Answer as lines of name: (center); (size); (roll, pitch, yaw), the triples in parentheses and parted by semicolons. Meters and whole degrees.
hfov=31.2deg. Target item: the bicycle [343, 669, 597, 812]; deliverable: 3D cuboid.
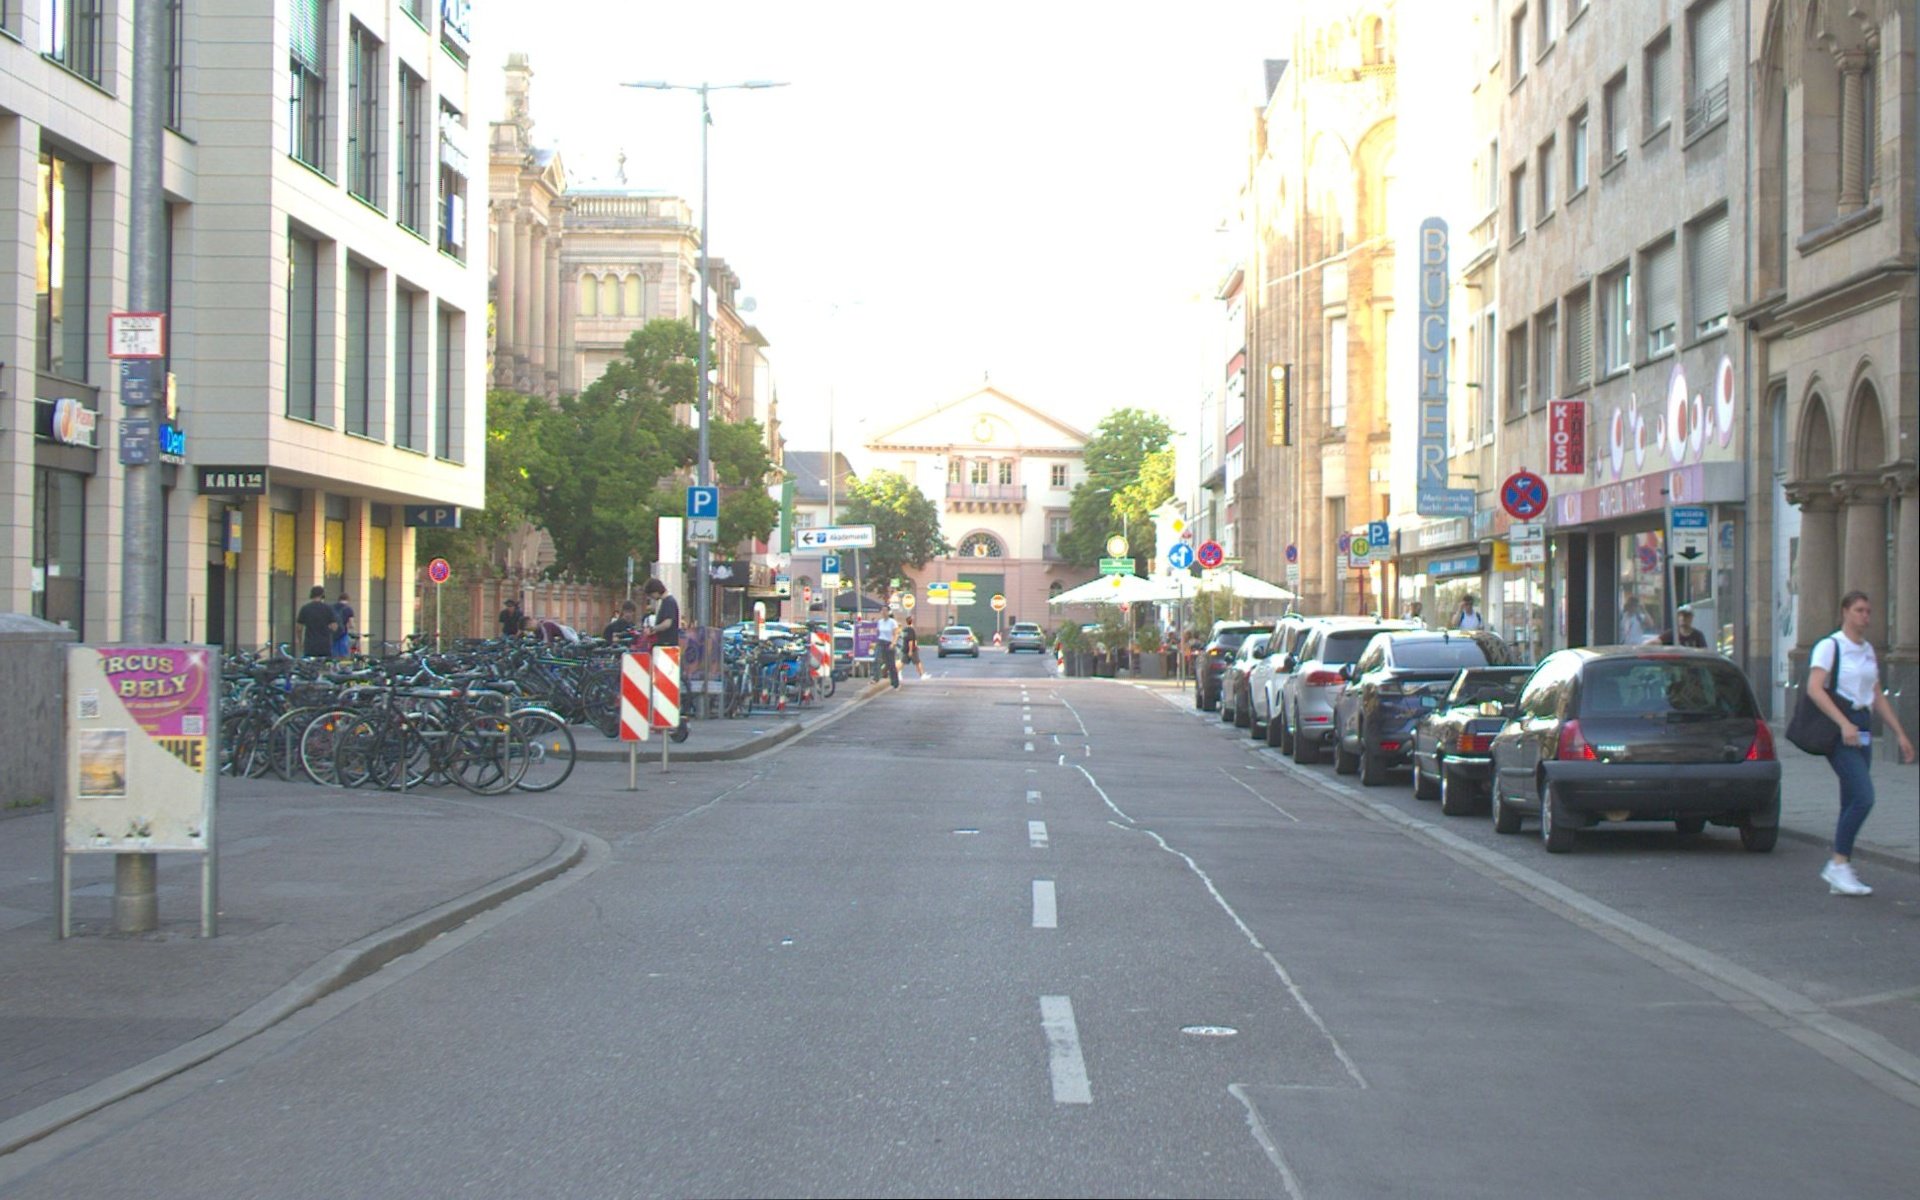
bicycle: (-4.043, 1.166, 28.426); (1.967, 1.118, 0.558); (2, 0, -28)

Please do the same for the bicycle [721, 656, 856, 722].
bicycle: (-2.807, 1.461, 56.537); (2.148, 1.026, 0.640); (1, 0, 3)

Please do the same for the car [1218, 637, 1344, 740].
car: (5.055, 1.374, 54.520); (1.679, 1.542, 3.673); (0, 0, 1)

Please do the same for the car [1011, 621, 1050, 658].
car: (3.750, 2.098, 183.312); (1.993, 1.897, 4.000); (2, 0, 1)

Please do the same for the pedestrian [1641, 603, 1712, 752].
pedestrian: (8.165, 0.876, 39.198); (0.643, 1.684, 0.671); (1, 0, -1)

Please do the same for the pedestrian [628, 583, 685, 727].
pedestrian: (-3.872, 0.697, 43.891); (0.656, 1.817, 0.528); (1, 0, -9)

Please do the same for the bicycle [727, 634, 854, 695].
bicycle: (-2.947, 1.117, 59.849); (2.148, 1.026, 0.640); (1, 0, 3)

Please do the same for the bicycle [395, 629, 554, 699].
bicycle: (-6.917, 0.904, 48.989); (2.148, 0.950, 0.640); (1, 0, 3)

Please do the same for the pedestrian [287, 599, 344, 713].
pedestrian: (-9.204, 0.794, 49.082); (0.679, 1.615, 0.573); (1, 0, 1)

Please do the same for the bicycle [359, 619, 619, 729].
bicycle: (-5.497, 0.862, 40.169); (2.886, 1.251, 0.804); (1, 0, -25)

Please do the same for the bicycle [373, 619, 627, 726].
bicycle: (-5.495, 0.867, 41.144); (2.886, 1.251, 0.804); (1, 0, -25)

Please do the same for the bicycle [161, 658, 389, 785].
bicycle: (-6.378, 1.140, 32.058); (1.967, 1.118, 0.558); (2, 0, -28)

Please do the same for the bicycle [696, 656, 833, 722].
bicycle: (-3.164, 1.443, 55.754); (2.148, 1.026, 0.640); (1, 0, 3)

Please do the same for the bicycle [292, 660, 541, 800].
bicycle: (-4.609, 1.107, 29.203); (1.967, 1.118, 0.558); (2, 0, -28)

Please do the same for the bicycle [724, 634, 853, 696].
bicycle: (-2.947, 1.113, 59.079); (2.148, 1.026, 0.640); (1, 0, 3)

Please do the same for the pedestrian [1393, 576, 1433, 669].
pedestrian: (8.540, 0.419, 64.784); (0.643, 1.740, 0.671); (1, 0, -1)

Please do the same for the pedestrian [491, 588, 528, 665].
pedestrian: (-9.551, 0.567, 72.938); (0.679, 1.615, 0.573); (1, 0, 1)

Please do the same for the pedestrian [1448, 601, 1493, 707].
pedestrian: (8.726, 0.926, 58.774); (0.643, 1.794, 0.671); (1, 0, -1)

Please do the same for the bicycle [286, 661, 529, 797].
bicycle: (-4.797, 1.125, 29.885); (1.967, 1.118, 0.558); (2, 0, -28)

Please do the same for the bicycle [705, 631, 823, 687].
bicycle: (-3.688, 1.107, 64.805); (2.148, 1.026, 0.640); (1, 0, 3)

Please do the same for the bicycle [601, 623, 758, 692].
bicycle: (-4.002, 0.817, 49.117); (2.148, 0.950, 0.640); (1, 0, 3)

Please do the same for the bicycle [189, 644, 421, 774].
bicycle: (-5.982, 1.004, 31.435); (1.967, 1.118, 0.558); (2, 0, -28)

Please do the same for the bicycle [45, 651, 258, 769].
bicycle: (-8.156, 1.114, 34.712); (1.967, 1.118, 0.558); (2, 0, -28)

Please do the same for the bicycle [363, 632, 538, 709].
bicycle: (-6.603, 0.905, 44.576); (2.148, 0.950, 0.640); (1, 0, 3)

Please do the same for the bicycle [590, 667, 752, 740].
bicycle: (-3.993, 1.429, 47.588); (2.148, 0.950, 0.640); (1, 0, 3)

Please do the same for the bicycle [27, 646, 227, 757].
bicycle: (-8.939, 1.092, 36.901); (1.967, 1.118, 0.558); (2, 0, -28)

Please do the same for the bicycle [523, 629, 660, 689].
bicycle: (-6.065, 0.971, 56.588); (2.148, 0.950, 0.640); (1, 0, 3)

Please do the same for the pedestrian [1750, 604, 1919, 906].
pedestrian: (5.115, 0.885, 19.948); (0.834, 1.715, 0.682); (1, 0, -7)

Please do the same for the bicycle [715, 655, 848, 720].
bicycle: (-2.963, 1.458, 57.270); (2.148, 1.026, 0.640); (1, 0, 3)

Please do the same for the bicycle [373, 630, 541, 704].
bicycle: (-6.785, 0.905, 46.384); (2.148, 0.950, 0.640); (1, 0, 3)

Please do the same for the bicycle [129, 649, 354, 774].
bicycle: (-6.823, 1.066, 32.687); (1.967, 1.118, 0.558); (2, 0, -28)

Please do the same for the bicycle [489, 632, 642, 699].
bicycle: (-5.829, 0.964, 50.854); (2.148, 0.950, 0.640); (1, 0, 3)

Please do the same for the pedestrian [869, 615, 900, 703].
pedestrian: (-1.573, 1.220, 71.745); (0.599, 1.817, 0.452); (1, 0, 2)

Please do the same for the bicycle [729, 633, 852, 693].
bicycle: (-3.034, 1.121, 61.613); (2.148, 1.026, 0.640); (1, 0, 3)

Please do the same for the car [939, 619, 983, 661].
car: (0.041, 1.921, 164.543); (1.993, 1.897, 4.000); (2, 0, 1)

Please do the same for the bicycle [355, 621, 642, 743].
bicycle: (-4.888, 0.871, 36.493); (2.886, 1.251, 0.804); (1, 0, -25)

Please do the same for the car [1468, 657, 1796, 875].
car: (4.780, 1.144, 24.903); (1.679, 1.420, 3.673); (0, 0, 1)

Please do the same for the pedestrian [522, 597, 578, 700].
pedestrian: (-6.153, 0.729, 51.639); (0.751, 1.524, 0.485); (1, 0, 1)

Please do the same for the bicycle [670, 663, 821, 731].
bicycle: (-3.154, 1.421, 50.610); (2.148, 0.950, 0.640); (1, 0, 3)

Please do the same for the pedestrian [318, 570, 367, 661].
pedestrian: (-11.043, 0.275, 61.479); (0.731, 1.615, 0.661); (1, 0, 1)

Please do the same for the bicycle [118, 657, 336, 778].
bicycle: (-7.168, 1.150, 33.641); (1.967, 1.118, 0.558); (2, 0, -28)

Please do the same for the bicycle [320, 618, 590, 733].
bicycle: (-5.674, 0.849, 38.699); (2.886, 1.251, 0.804); (1, 0, -25)

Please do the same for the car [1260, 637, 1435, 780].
car: (4.616, 1.268, 41.430); (1.679, 1.608, 4.028); (0, 0, 1)

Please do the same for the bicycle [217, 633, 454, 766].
bicycle: (-5.582, 0.897, 30.786); (1.967, 1.118, 0.558); (2, 0, -28)

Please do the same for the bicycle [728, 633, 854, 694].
bicycle: (-2.989, 1.119, 60.886); (2.148, 1.026, 0.640); (1, 0, 3)

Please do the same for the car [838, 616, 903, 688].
car: (-2.566, 1.497, 99.498); (1.710, 2.007, 4.000); (1, 0, 1)

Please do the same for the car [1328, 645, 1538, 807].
car: (4.803, 1.252, 35.310); (1.679, 1.542, 3.673); (0, 0, 1)

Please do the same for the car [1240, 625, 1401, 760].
car: (4.920, 1.230, 47.392); (1.799, 1.762, 4.397); (0, 0, 1)

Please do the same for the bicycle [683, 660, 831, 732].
bicycle: (-3.036, 1.430, 51.541); (2.148, 1.026, 0.640); (1, 0, 3)

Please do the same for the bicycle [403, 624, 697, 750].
bicycle: (-4.211, 0.894, 35.393); (2.886, 1.251, 0.804); (1, 0, -25)

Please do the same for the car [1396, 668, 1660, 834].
car: (4.896, 1.277, 30.119); (1.679, 1.286, 4.046); (0, 0, 1)

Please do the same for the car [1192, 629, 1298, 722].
car: (5.256, 1.372, 63.708); (1.679, 1.660, 3.673); (0, 0, 1)
